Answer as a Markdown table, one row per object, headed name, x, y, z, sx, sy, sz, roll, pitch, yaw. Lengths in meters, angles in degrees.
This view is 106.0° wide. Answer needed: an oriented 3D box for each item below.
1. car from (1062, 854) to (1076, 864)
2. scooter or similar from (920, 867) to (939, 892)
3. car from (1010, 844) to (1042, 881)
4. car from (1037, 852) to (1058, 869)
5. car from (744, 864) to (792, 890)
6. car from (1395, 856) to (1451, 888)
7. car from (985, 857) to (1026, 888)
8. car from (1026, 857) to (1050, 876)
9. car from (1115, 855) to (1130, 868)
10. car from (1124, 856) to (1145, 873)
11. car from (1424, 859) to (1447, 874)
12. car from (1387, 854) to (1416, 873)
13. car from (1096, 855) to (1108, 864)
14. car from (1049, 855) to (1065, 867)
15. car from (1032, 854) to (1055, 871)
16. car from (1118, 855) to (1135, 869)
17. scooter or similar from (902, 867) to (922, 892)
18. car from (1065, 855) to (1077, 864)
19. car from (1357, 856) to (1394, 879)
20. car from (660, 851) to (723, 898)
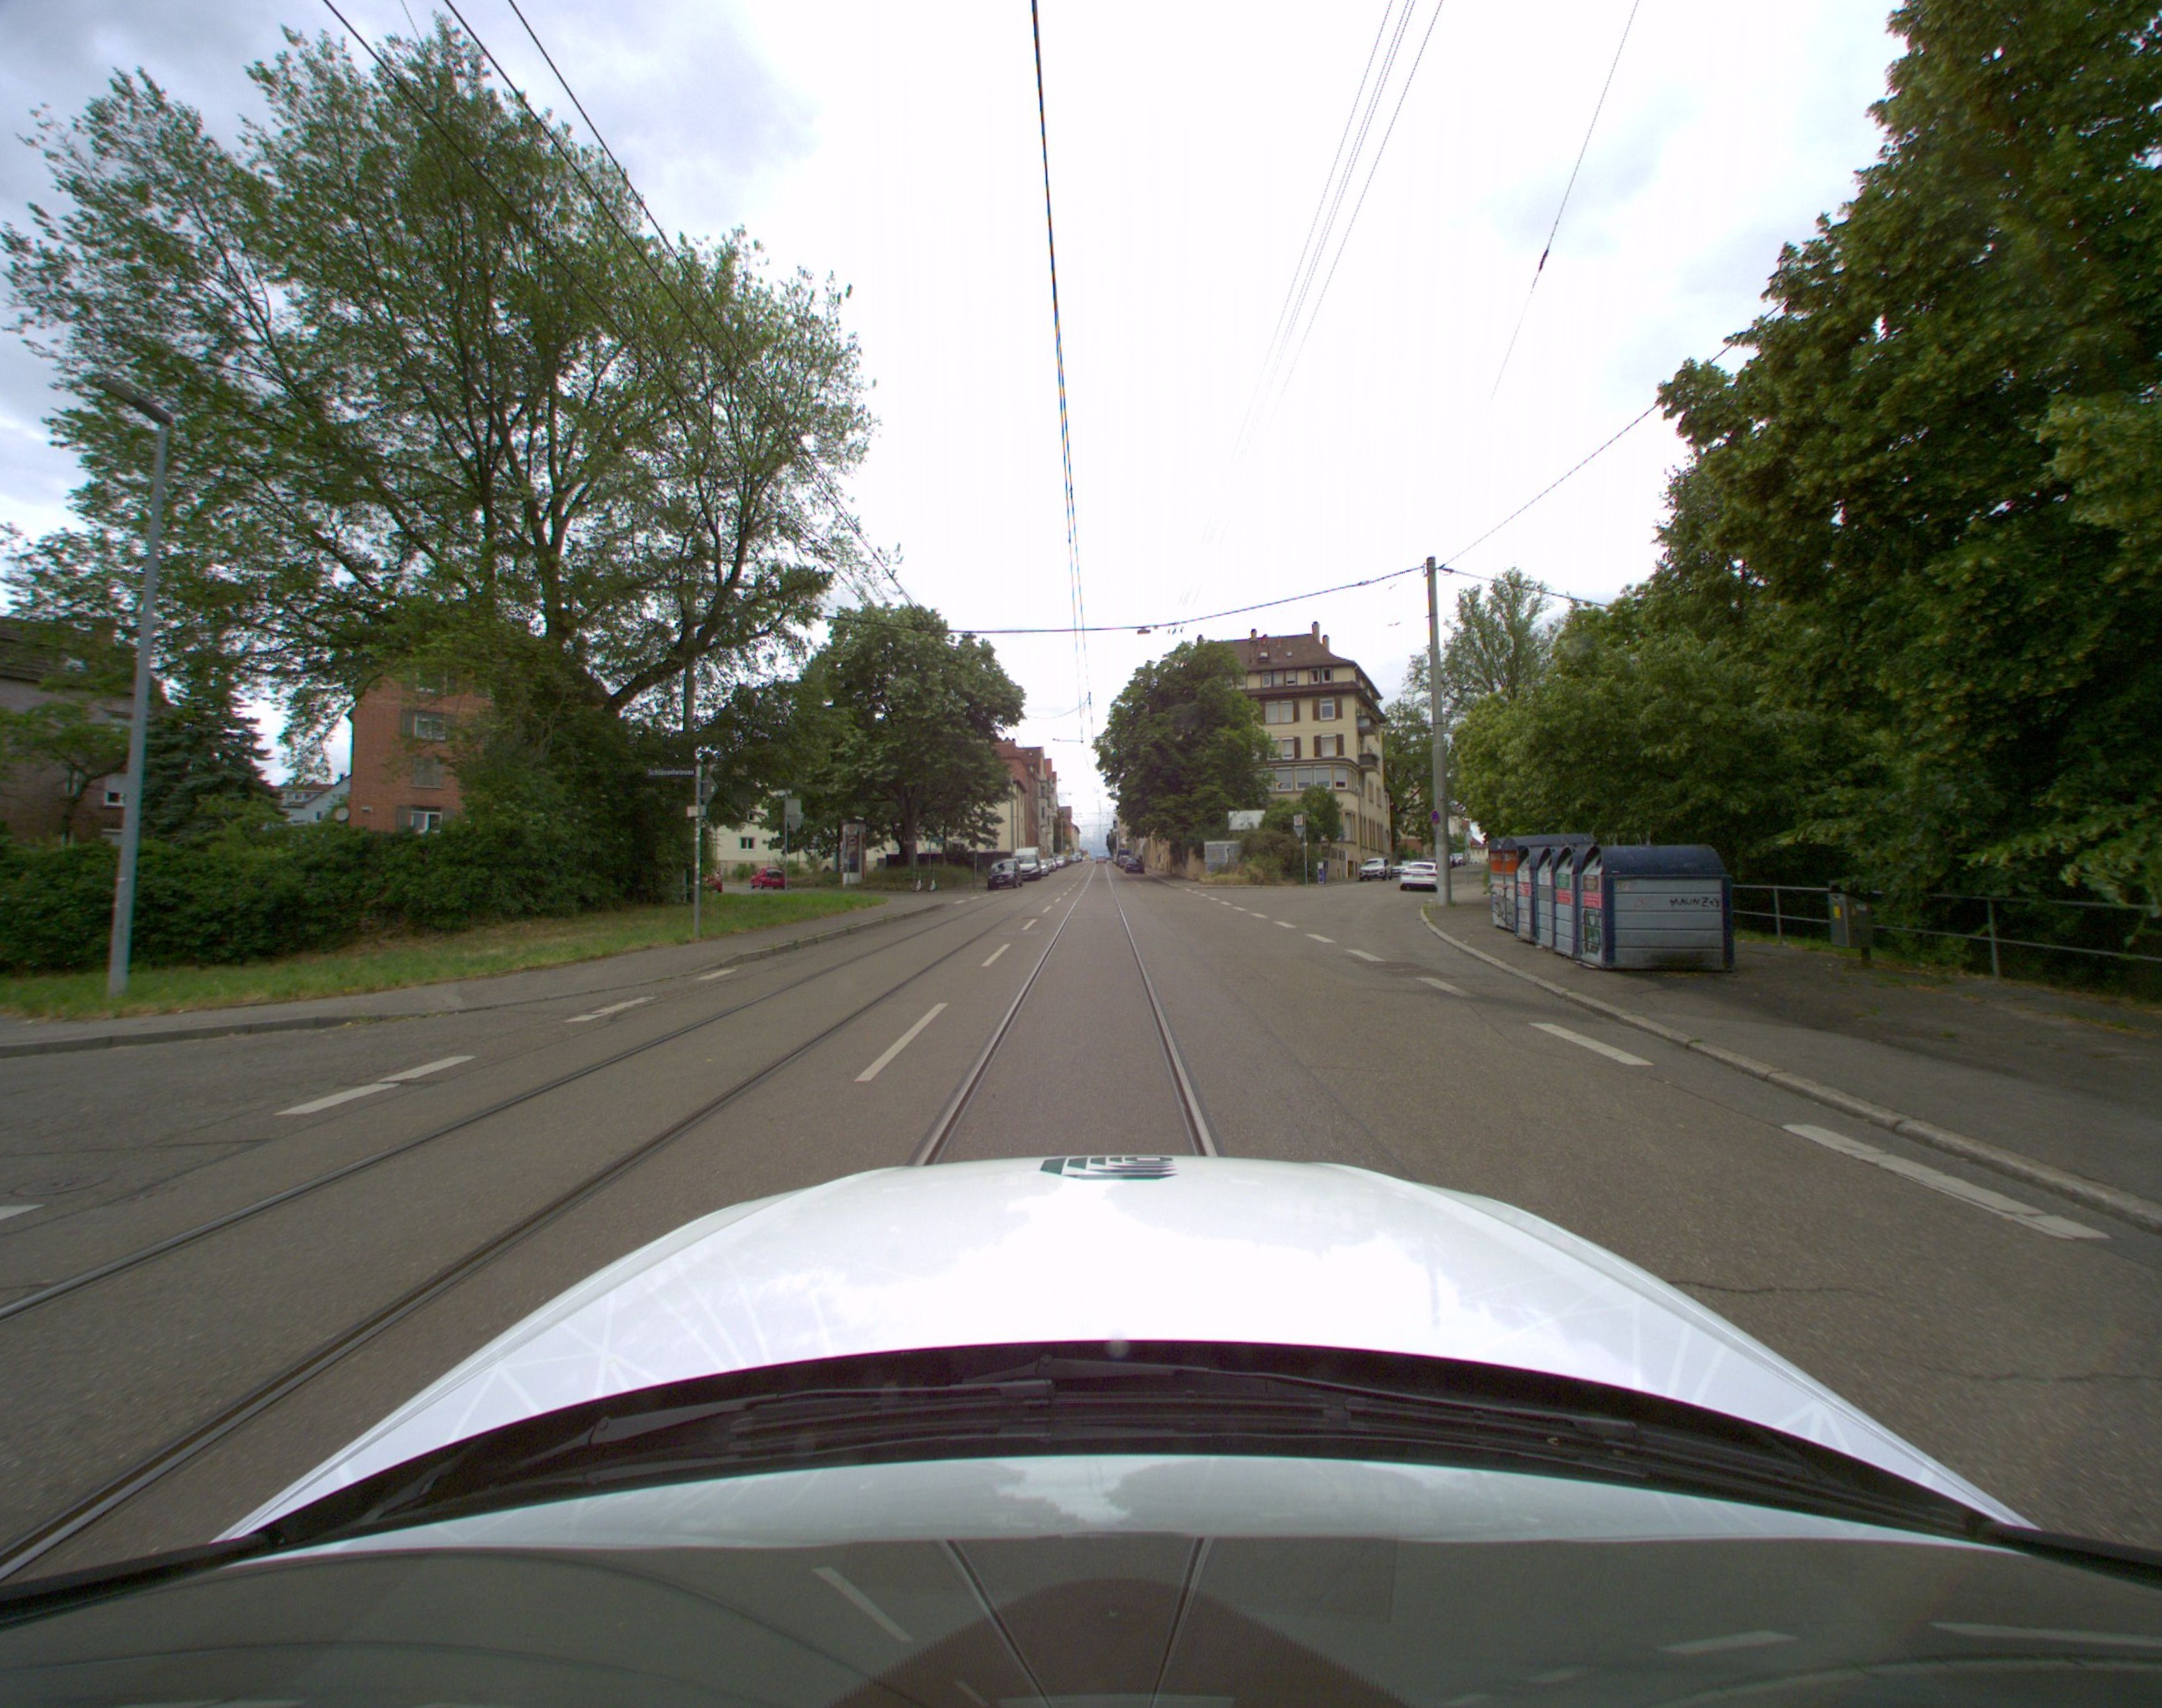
| name | x | y | z | sx | sy | sz | roll | pitch | yaw |
| --- | --- | --- | --- | --- | --- | --- | --- | --- | --- |
| car | -1.913 | 0.819 | 131.842 | 1.986 | 1.601 | 4.000 | 0 | -1 | 1 |
| scooter or similar | -8.389 | 1.408 | 45.072 | 0.688 | 1.339 | 1.640 | 0 | -1 | 2 |
| car | -4.324 | 0.669 | 64.664 | 2.224 | 2.764 | 5.797 | 0 | -1 | -1 |
| car | -3.716 | 0.747 | 91.939 | 1.985 | 1.812 | 4.315 | 0 | -1 | 3 |
| car | -20.408 | 1.471 | 52.993 | 2.009 | 1.596 | 3.956 | 0 | -1 | -36 |
| car | 16.852 | 0.843 | 40.011 | 1.974 | 1.479 | 4.491 | -1 | -1 | 30 |
| car | -4.610 | 1.101 | 50.132 | 1.985 | 1.808 | 4.002 | 0 | -1 | 3 |
| car | -3.897 | 1.148 | 74.971 | 1.988 | 1.600 | 4.310 | 0 | -1 | -1 |
| car | 5.713 | 1.026 | 112.242 | 1.986 | 1.651 | 4.001 | -1 | -1 | 2 |
| car | 5.167 | 1.023 | 79.106 | 1.985 | 1.530 | 4.314 | 0 | -1 | 2 |
| car | 37.370 | 1.306 | 85.733 | 1.975 | 1.618 | 4.023 | -1 | -1 | 26 |
| car | 28.172 | 0.869 | 71.527 | 1.975 | 1.618 | 4.023 | -1 | -1 | 26 |
| car | 3.749 | 0.932 | 145.175 | 1.986 | 1.498 | 4.313 | 0 | -1 | 1 |
| car | -3.149 | 0.960 | 108.496 | 1.917 | 1.601 | 4.001 | 0 | -1 | 2 |
| car | -3.923 | 0.919 | 86.341 | 1.985 | 1.812 | 4.315 | 0 | -1 | 3 |
| car | 5.539 | 0.982 | 99.491 | 1.986 | 1.717 | 4.001 | -1 | -1 | 2 |
| scooter or similar | -9.340 | 1.415 | 45.092 | 0.688 | 1.339 | 1.640 | 0 | -1 | 2 |
| car | -1.792 | 0.963 | 148.019 | 1.986 | 1.601 | 4.000 | 0 | -1 | 1 |
| car | 20.866 | 0.927 | 57.683 | 1.975 | 1.552 | 4.023 | -1 | -1 | 26 |
| car | -14.664 | 0.740 | 30.611 | 2.004 | 1.662 | 3.965 | 0 | -1 | -27 |
